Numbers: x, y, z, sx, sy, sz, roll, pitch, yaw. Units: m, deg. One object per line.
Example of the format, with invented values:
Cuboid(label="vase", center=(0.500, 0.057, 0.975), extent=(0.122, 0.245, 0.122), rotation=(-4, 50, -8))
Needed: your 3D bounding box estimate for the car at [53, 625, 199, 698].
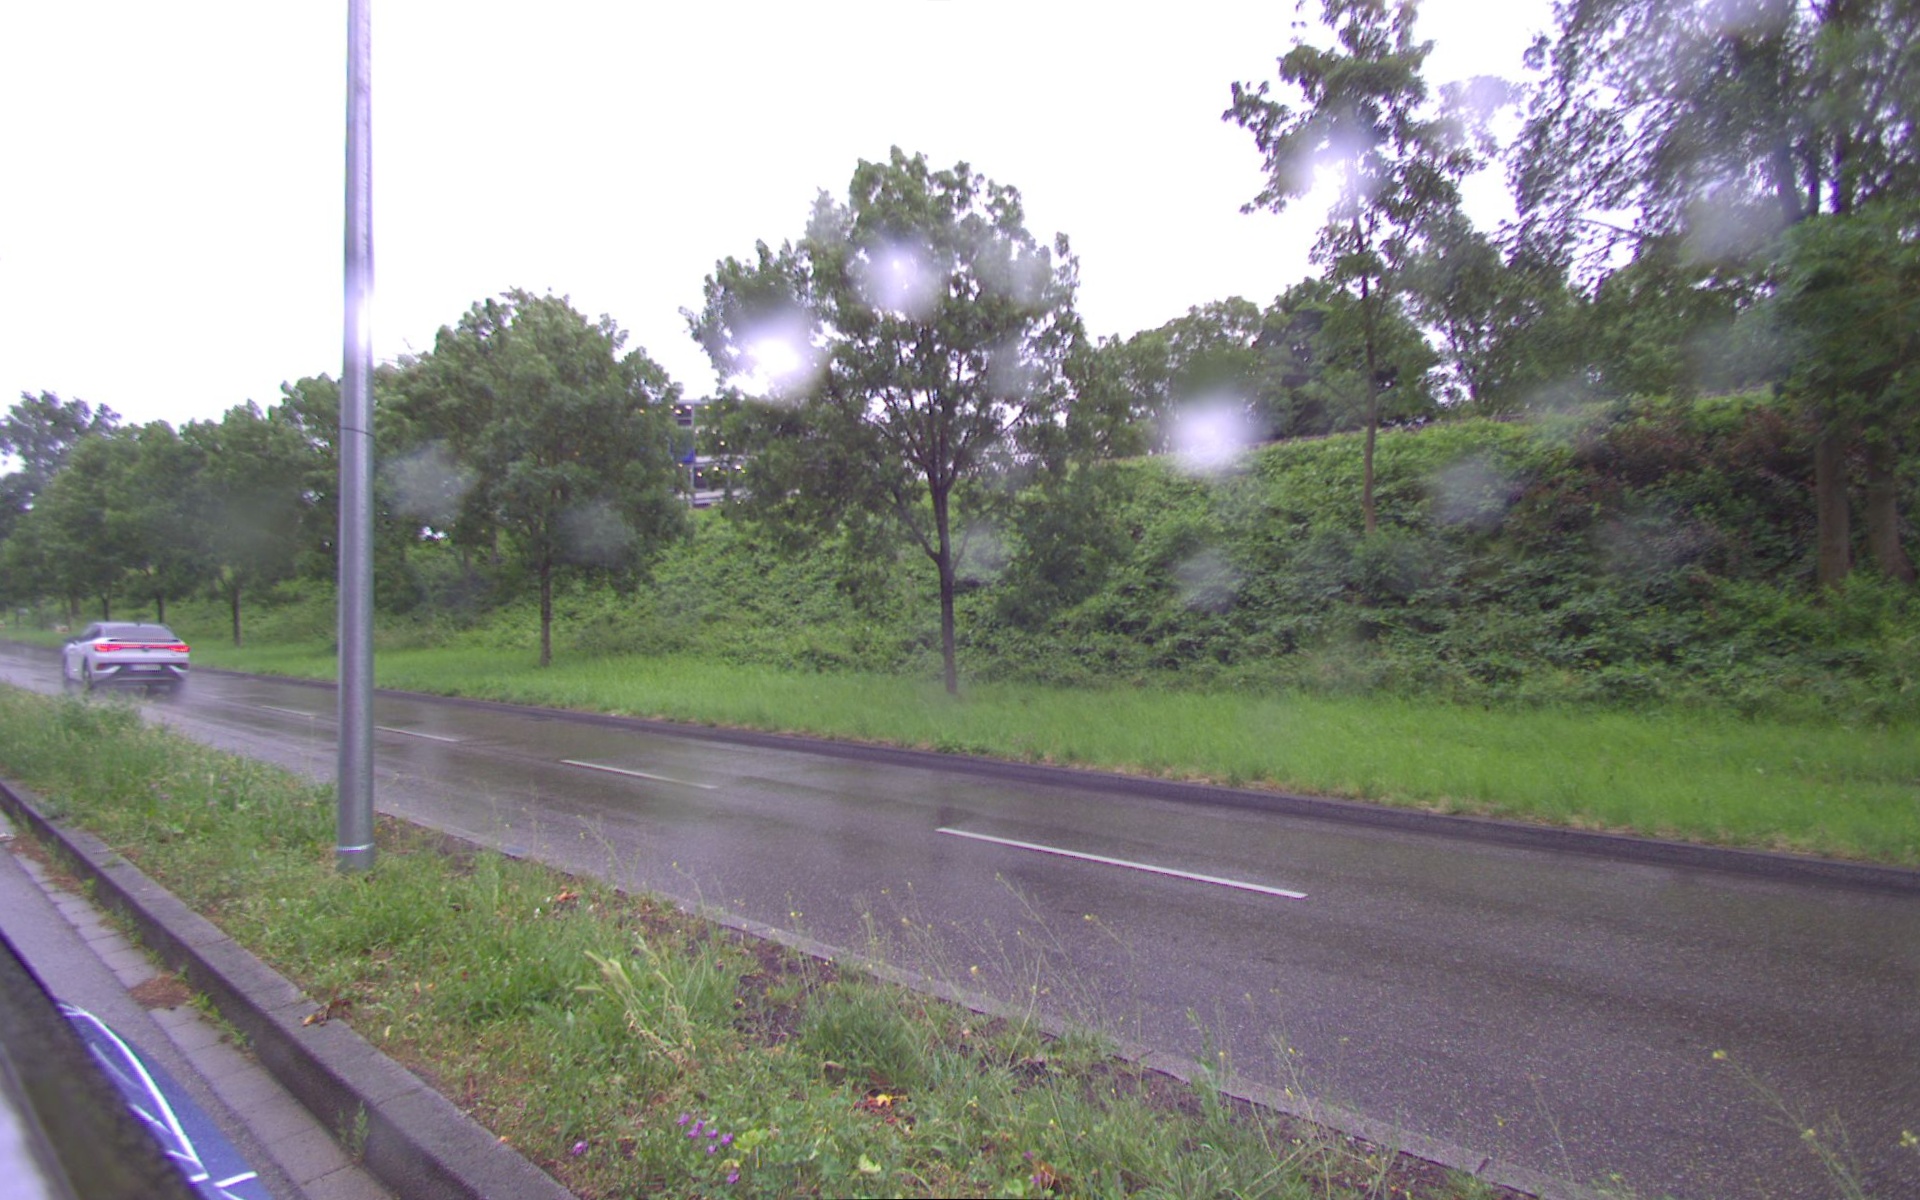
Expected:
Cuboid(label="car", center=(-19.394, 1.392, 23.478), extent=(4.299, 1.531, 1.867), rotation=(-2, -4, 41))
